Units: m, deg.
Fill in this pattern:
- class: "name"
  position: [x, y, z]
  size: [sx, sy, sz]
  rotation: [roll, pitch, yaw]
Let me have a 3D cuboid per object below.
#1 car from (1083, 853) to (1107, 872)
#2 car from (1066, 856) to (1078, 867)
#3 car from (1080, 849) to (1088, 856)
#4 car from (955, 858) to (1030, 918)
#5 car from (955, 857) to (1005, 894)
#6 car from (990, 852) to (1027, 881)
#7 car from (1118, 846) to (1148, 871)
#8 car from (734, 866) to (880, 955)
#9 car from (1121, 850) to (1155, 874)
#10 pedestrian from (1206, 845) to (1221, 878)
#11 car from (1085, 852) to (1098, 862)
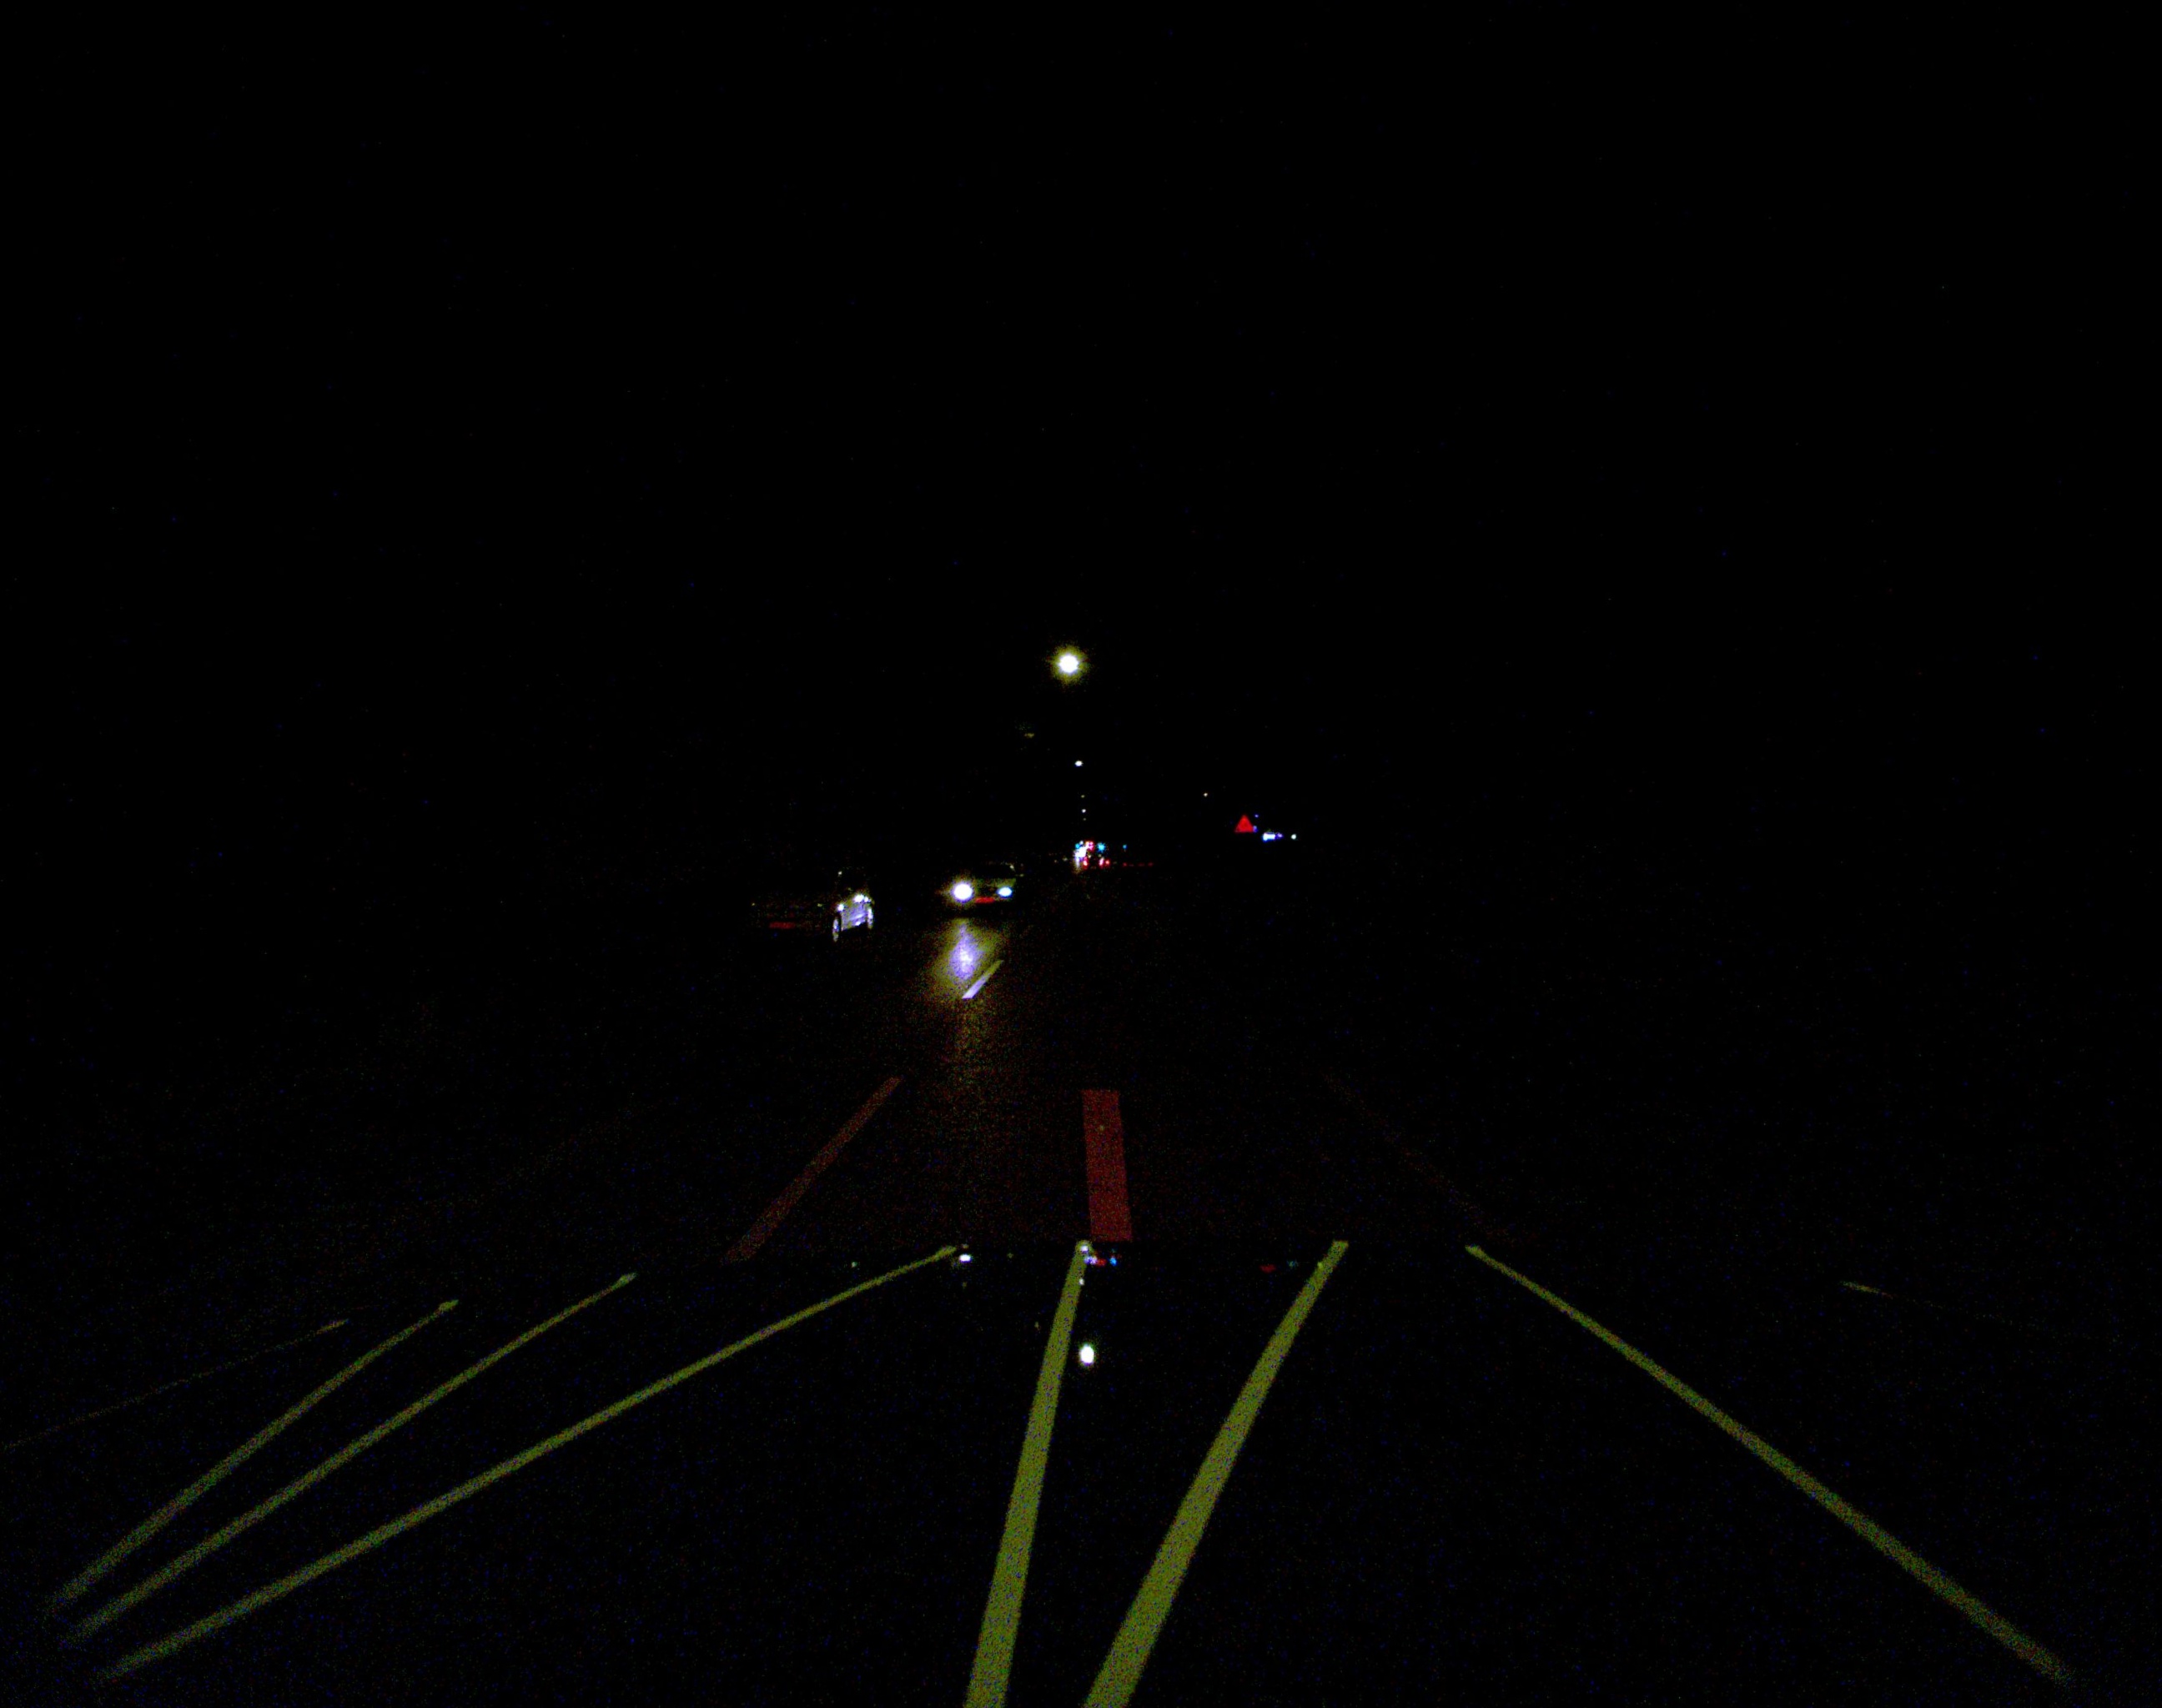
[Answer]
- class: "car"
  position: [1.157, 0.709, 64.477]
  size: [1.755, 1.433, 3.486]
  rotation: [-2, -2, -2]
- class: "car"
  position: [-1.515, 1.333, 134.879]
  size: [1.998, 1.718, 3.803]
  rotation: [-2, 1, 1]
- class: "car"
  position: [0.742, -0.529, 203.264]
  size: [1.998, 1.740, 3.999]
  rotation: [-2, 1, 1]
- class: "car"
  position: [-2.493, 0.925, 22.346]
  size: [1.780, 1.477, 3.999]
  rotation: [-2, 1, -1]
- class: "car"
  position: [-4.467, 0.905, 33.953]
  size: [1.742, 1.489, 3.890]
  rotation: [-1, 0, -1]
- class: "car"
  position: [-4.457, 0.751, 47.485]
  size: [1.852, 1.643, 4.179]
  rotation: [-2, 0, 0]
- class: "car"
  position: [3.888, 0.296, 57.086]
  size: [1.998, 1.772, 3.999]
  rotation: [-2, 1, 1]
- class: "car"
  position: [-5.288, 1.021, 15.136]
  size: [1.611, 1.500, 3.486]
  rotation: [0, 0, 1]
- class: "car"
  position: [3.893, 0.514, 52.086]
  size: [1.998, 1.477, 3.999]
  rotation: [-3, 1, 1]
- class: "pedestrian"
  position: [7.334, 0.409, 42.162]
  size: [0.673, 1.750, 0.500]
  rotation: [-2, 1, 1]
- class: "car"
  position: [1.853, 0.559, 130.821]
  size: [1.903, 1.581, 3.661]
  rotation: [-2, 1, 4]
